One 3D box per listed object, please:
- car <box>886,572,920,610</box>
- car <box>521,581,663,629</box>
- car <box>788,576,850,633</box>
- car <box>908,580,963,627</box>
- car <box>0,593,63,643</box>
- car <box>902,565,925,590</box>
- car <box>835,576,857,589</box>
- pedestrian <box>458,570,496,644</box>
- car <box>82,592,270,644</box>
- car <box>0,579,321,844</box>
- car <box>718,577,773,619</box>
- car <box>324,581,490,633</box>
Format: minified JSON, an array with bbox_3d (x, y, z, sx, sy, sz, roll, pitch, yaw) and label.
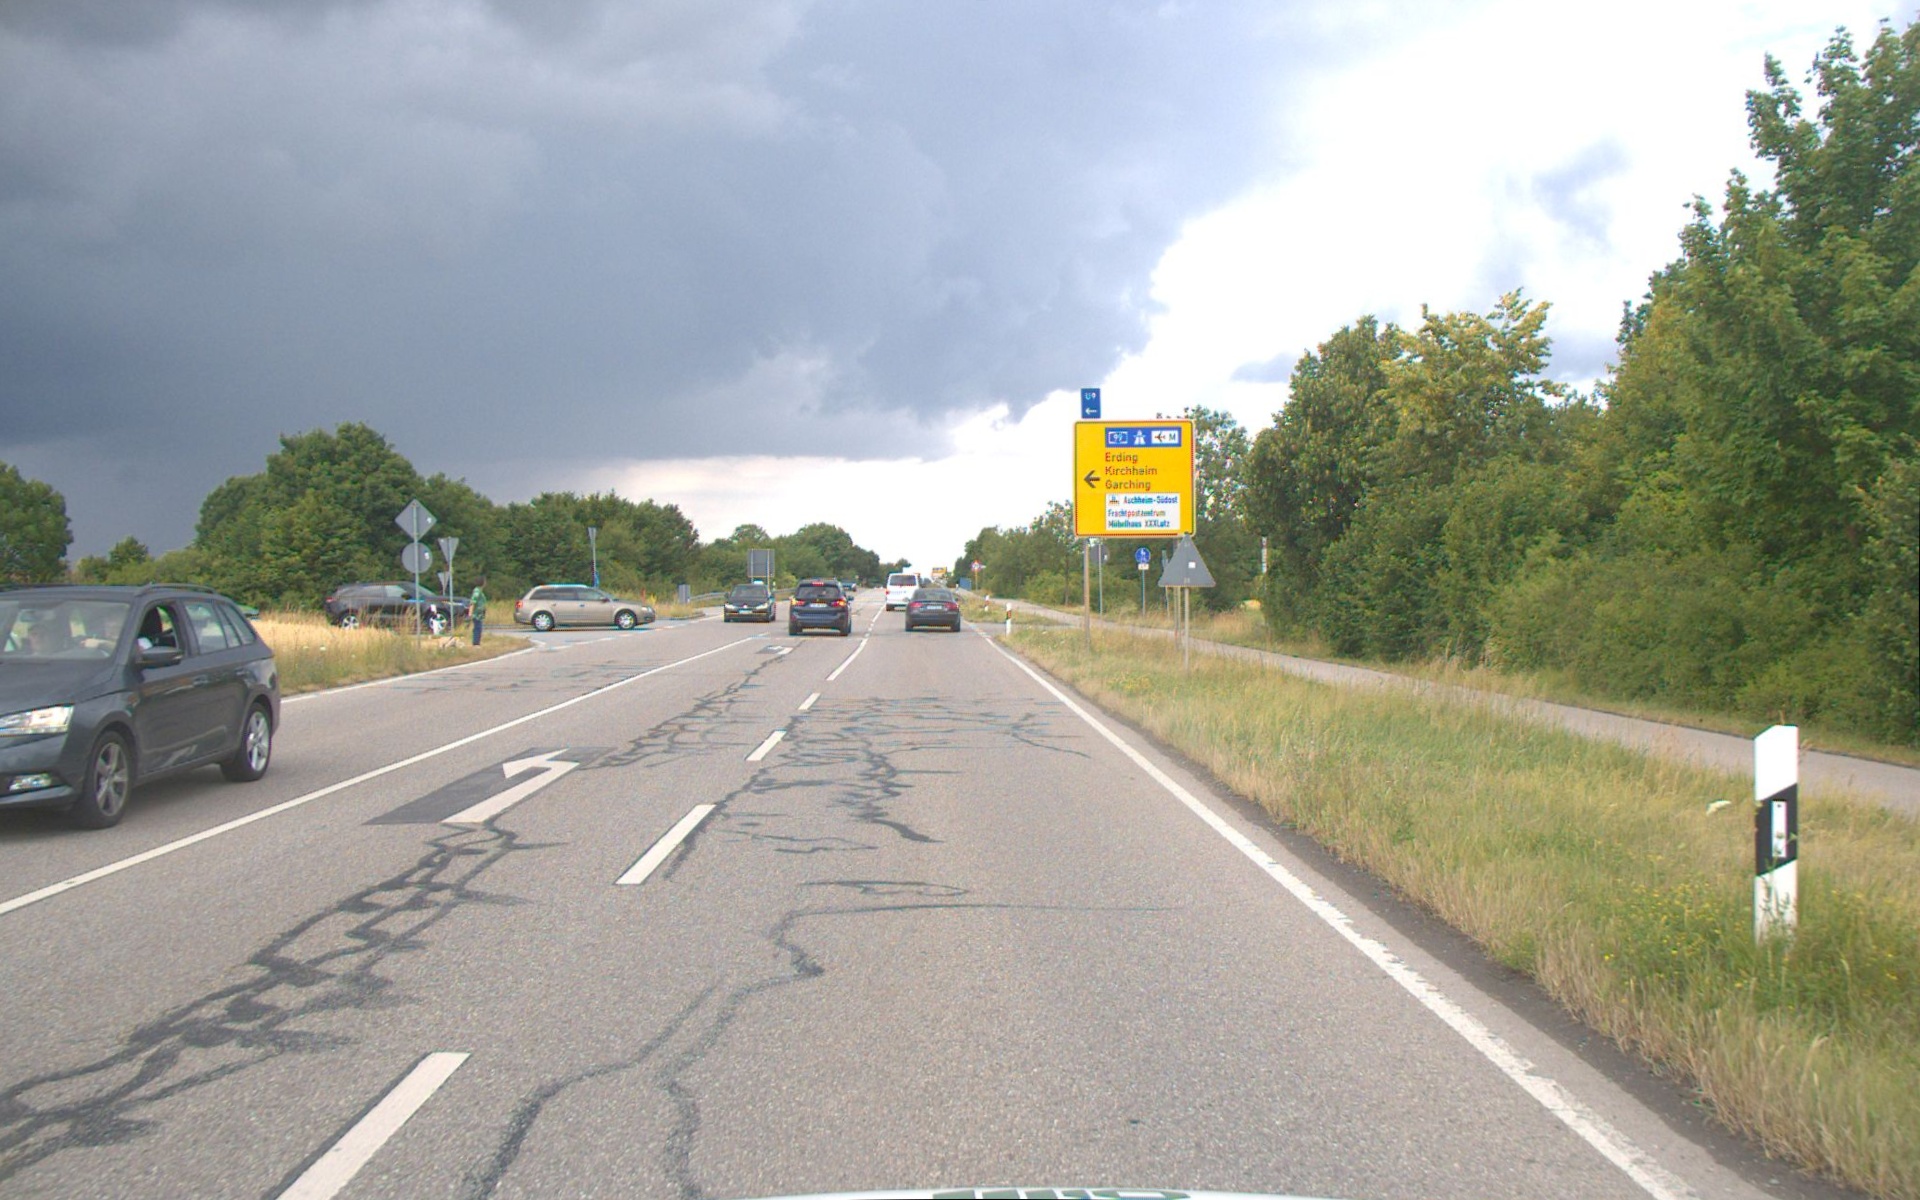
[{"bbox_3d":[-3.059,-0.477,88.227,1.750,1.922,3.998,1,0,-2],"label":"car"},{"bbox_3d":[-11.925,0.148,53.816,4.369,1.449,1.907,-1,0,-10],"label":"car"},{"bbox_3d":[-4.238,0.106,50.320,1.668,1.639,4.480,-1,1,-3],"label":"car"},{"bbox_3d":[-0.850,0.100,54.840,1.750,1.448,3.998,1,0,-2],"label":"car"},{"bbox_3d":[-31.775,0.583,53.498,4.526,1.543,1.912,-1,0,4],"label":"car"},{"bbox_3d":[-4.930,-2.433,177.147,2.398,2.548,5.040,1,1,-2],"label":"car"},{"bbox_3d":[-11.989,-1.854,174.125,2.121,1.307,4.235,3,1,-3],"label":"car"},{"bbox_3d":[-10.942,0.154,37.486,0.581,1.633,0.865,-3,0,-4],"label":"pedestrian"},{"bbox_3d":[-25.219,0.569,53.289,5.173,1.547,1.912,-1,0,4],"label":"car"},{"bbox_3d":[-6.006,0.614,11.329,1.700,1.484,4.131,0,0,-1],"label":"car"},{"bbox_3d":[-8.252,-0.080,63.910,1.645,1.548,4.394,1,0,-2],"label":"car"},{"bbox_3d":[-17.674,0.214,52.994,4.639,1.558,1.912,-1,0,4],"label":"car"}]
